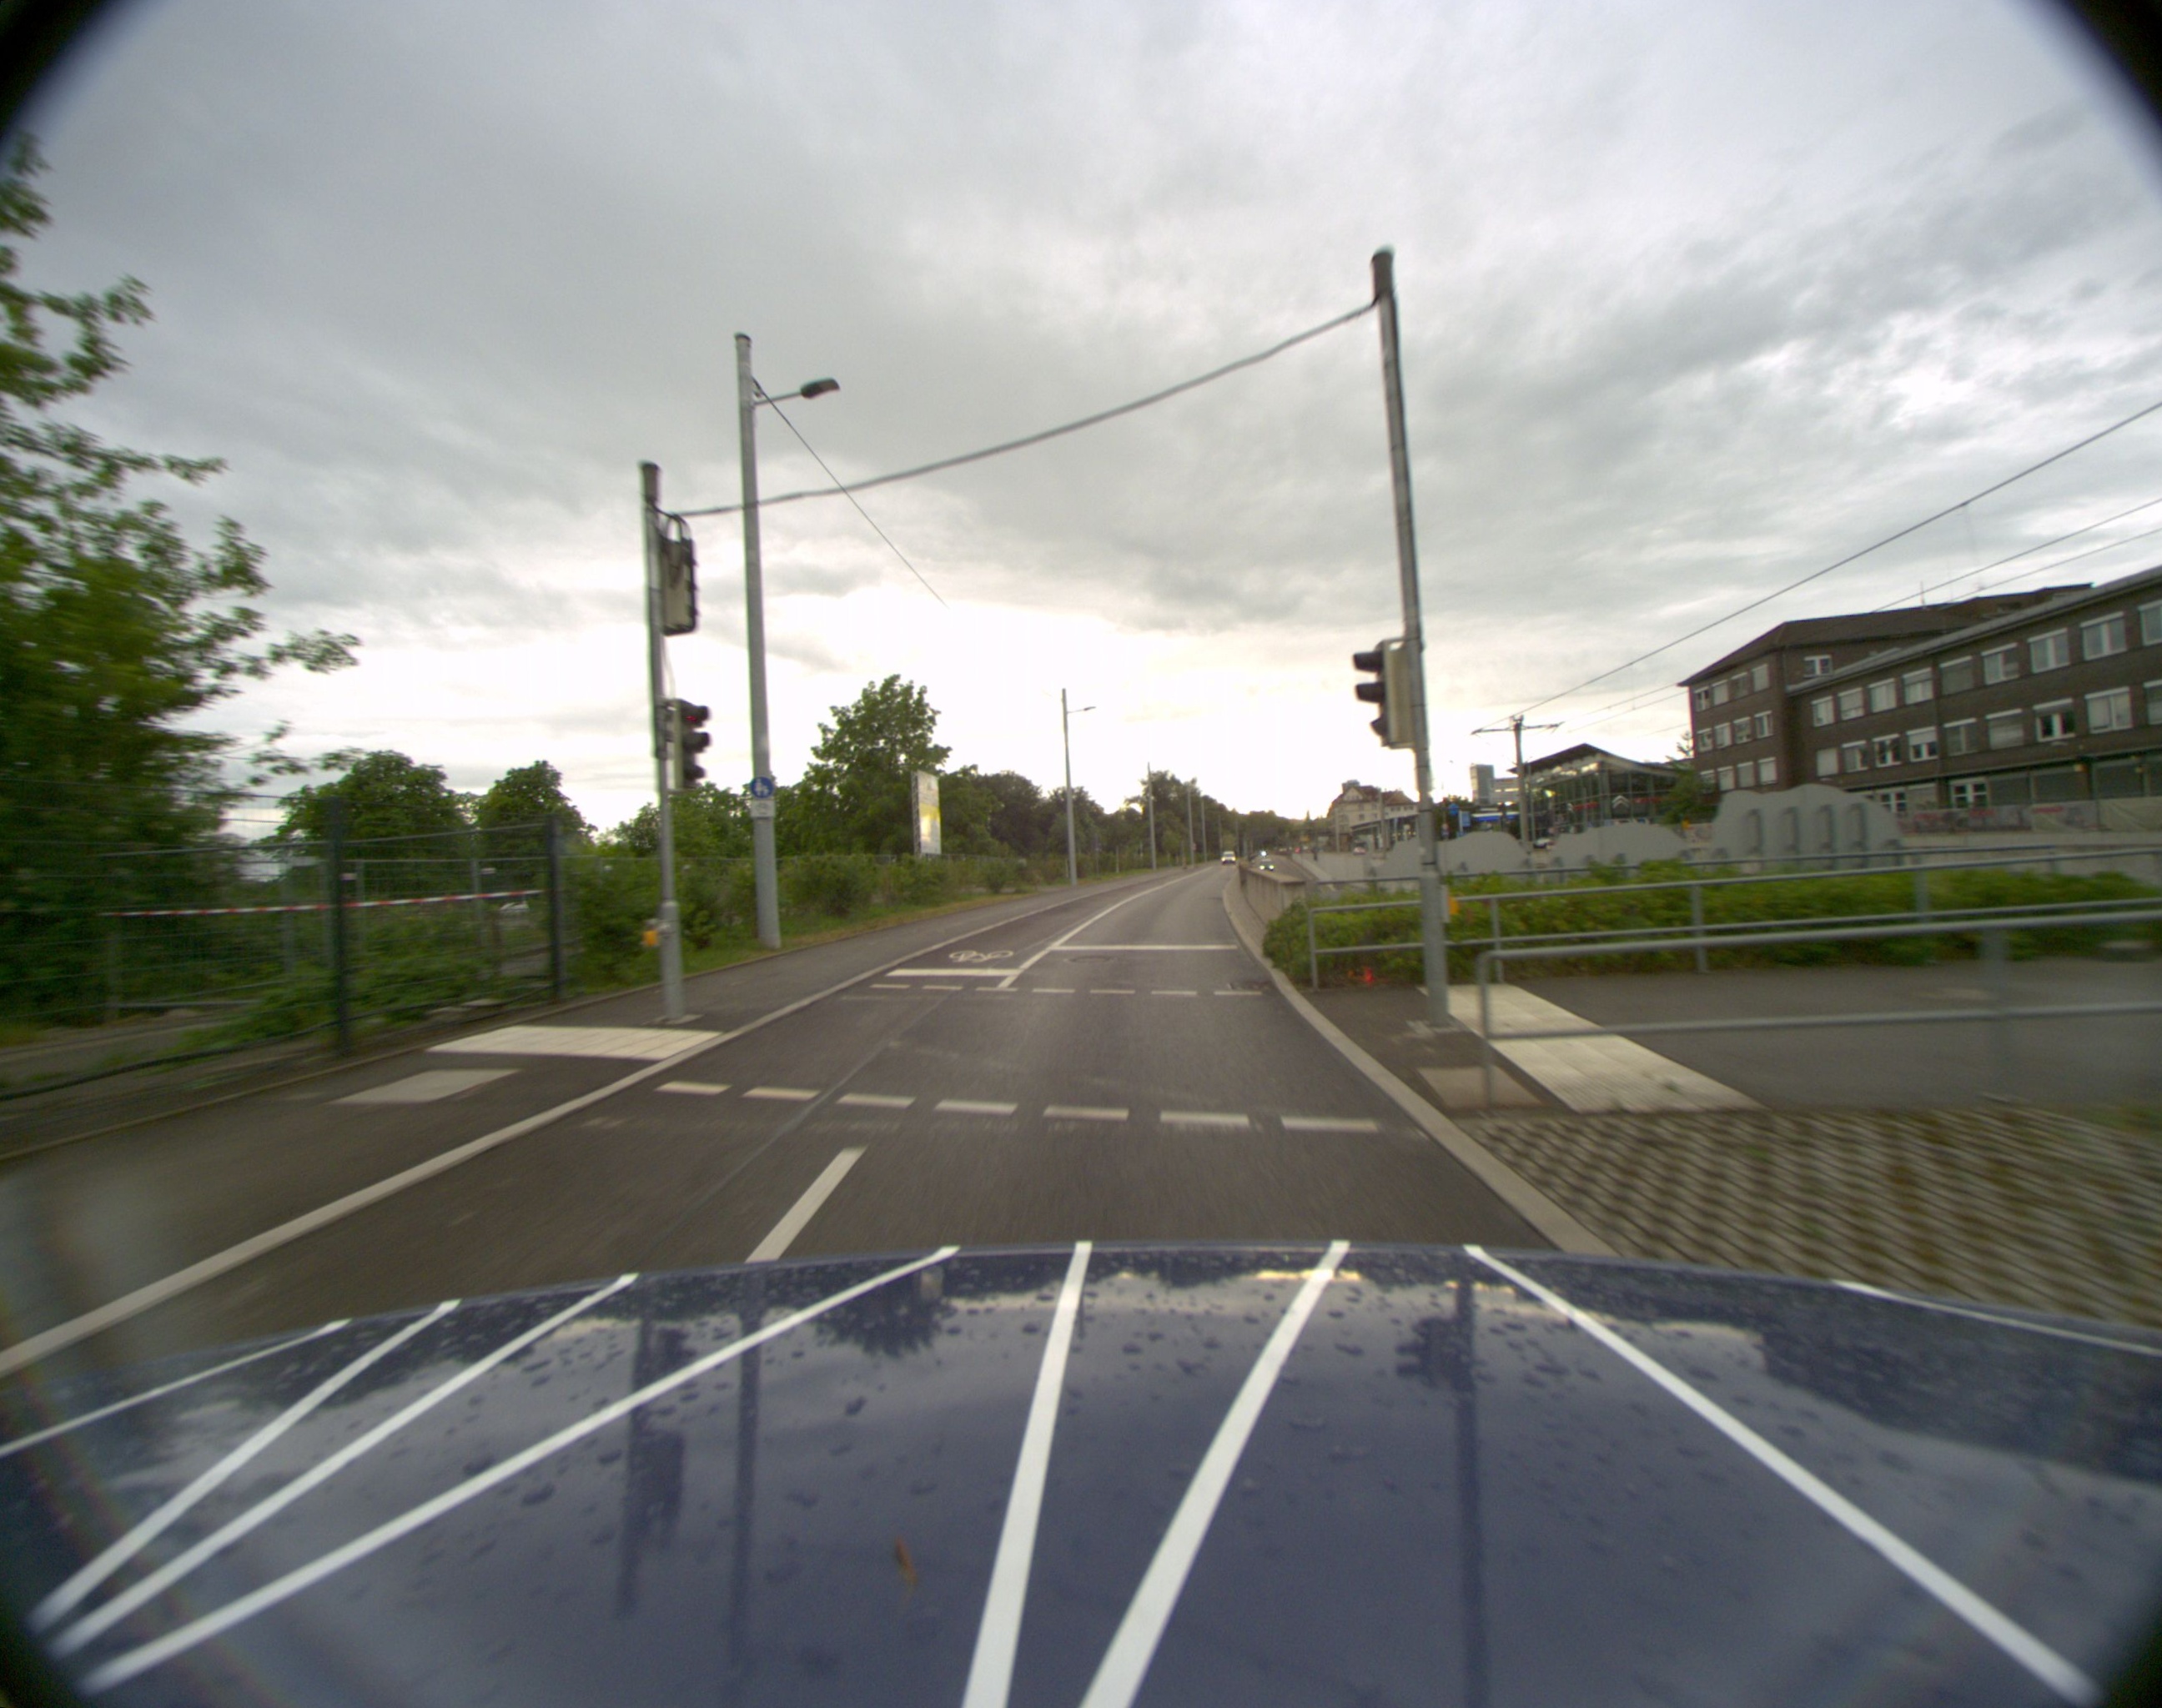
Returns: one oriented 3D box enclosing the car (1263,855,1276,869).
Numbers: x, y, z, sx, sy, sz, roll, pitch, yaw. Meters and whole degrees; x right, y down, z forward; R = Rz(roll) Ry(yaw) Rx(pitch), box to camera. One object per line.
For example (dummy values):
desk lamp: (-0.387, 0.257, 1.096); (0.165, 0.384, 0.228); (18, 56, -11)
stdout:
car: (29.094, 1.159, 117.338); (1.996, 2.002, 4.004); (-1, 1, 14)

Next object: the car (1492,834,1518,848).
car: (61.425, -1.859, 110.082); (1.997, 1.761, 4.003); (-3, 0, 11)

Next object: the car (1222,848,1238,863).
car: (20.930, 0.150, 106.490); (1.997, 2.002, 4.004); (-1, 0, 12)

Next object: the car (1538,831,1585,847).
car: (59.841, -1.851, 94.688); (4.572, 1.750, 2.002); (-3, 0, 12)

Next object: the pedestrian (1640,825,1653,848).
pedestrian: (50.490, -1.581, 67.804); (0.581, 2.002, 0.728); (-2, 1, -25)

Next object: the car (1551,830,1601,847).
car: (59.727, -1.862, 91.734); (4.572, 1.750, 2.002); (-3, 0, 12)

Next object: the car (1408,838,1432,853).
car: (46.718, -1.147, 104.857); (1.997, 2.002, 4.003); (-1, 0, 9)

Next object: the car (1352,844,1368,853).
car: (58.416, -1.162, 159.138); (2.117, 1.706, 4.583); (-3, 0, 10)
